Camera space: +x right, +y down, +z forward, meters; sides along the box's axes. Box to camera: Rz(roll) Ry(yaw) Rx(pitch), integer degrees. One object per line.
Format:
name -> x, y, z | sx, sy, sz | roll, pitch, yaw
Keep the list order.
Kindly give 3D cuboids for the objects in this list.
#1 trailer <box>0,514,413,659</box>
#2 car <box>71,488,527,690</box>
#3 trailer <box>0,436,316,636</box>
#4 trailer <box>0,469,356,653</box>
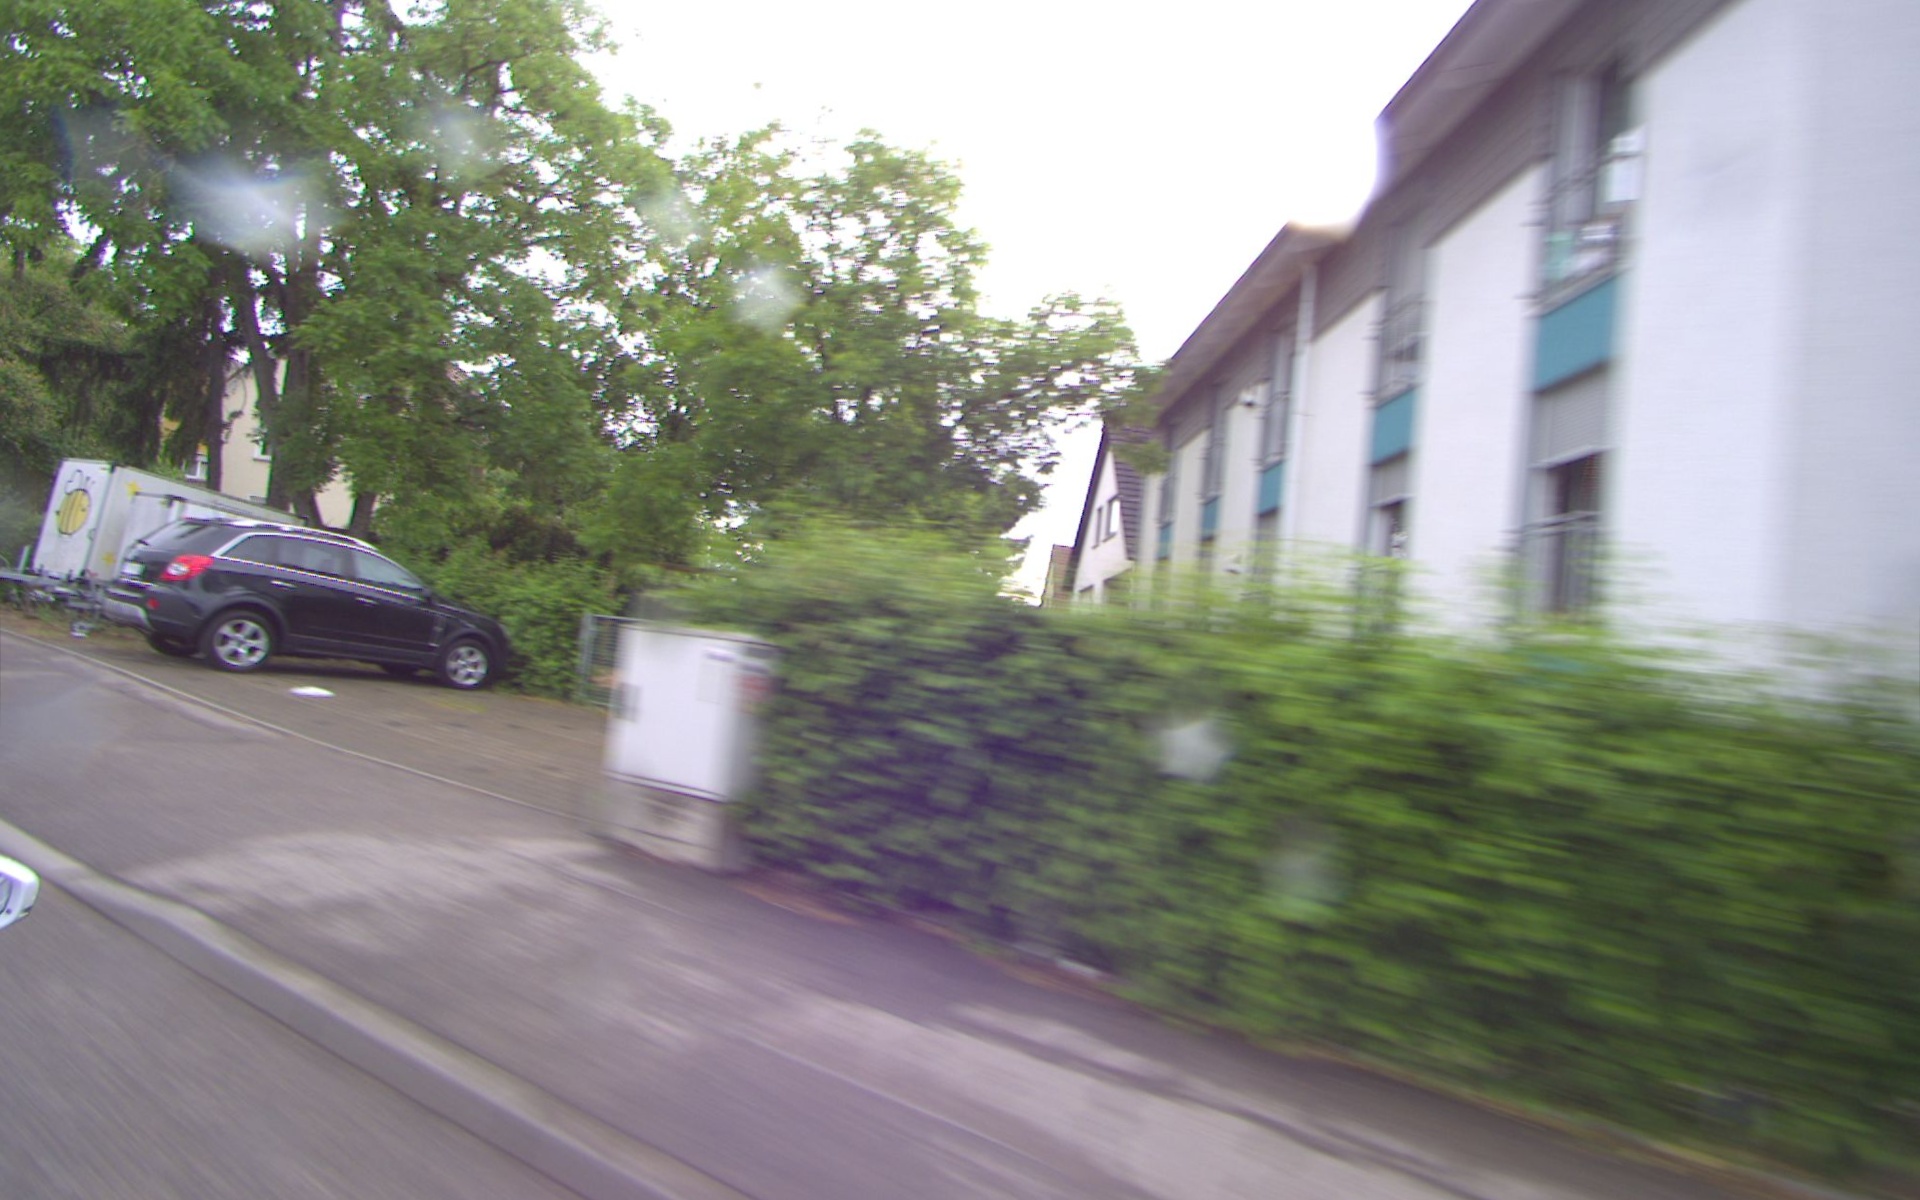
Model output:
trailer -> -10.535, -0.090, 14.462 | 1.545, 1.302, 4.410 | 8, -3, 31
car -> -8.053, -0.021, 12.689 | 1.952, 1.768, 4.223 | 8, -3, 33
trailer -> -13.790, -0.953, 16.781 | 1.914, 2.425, 4.556 | 7, -4, 25
trailer -> -12.037, -0.499, 15.665 | 1.659, 2.042, 3.966 | 7, -5, 31
